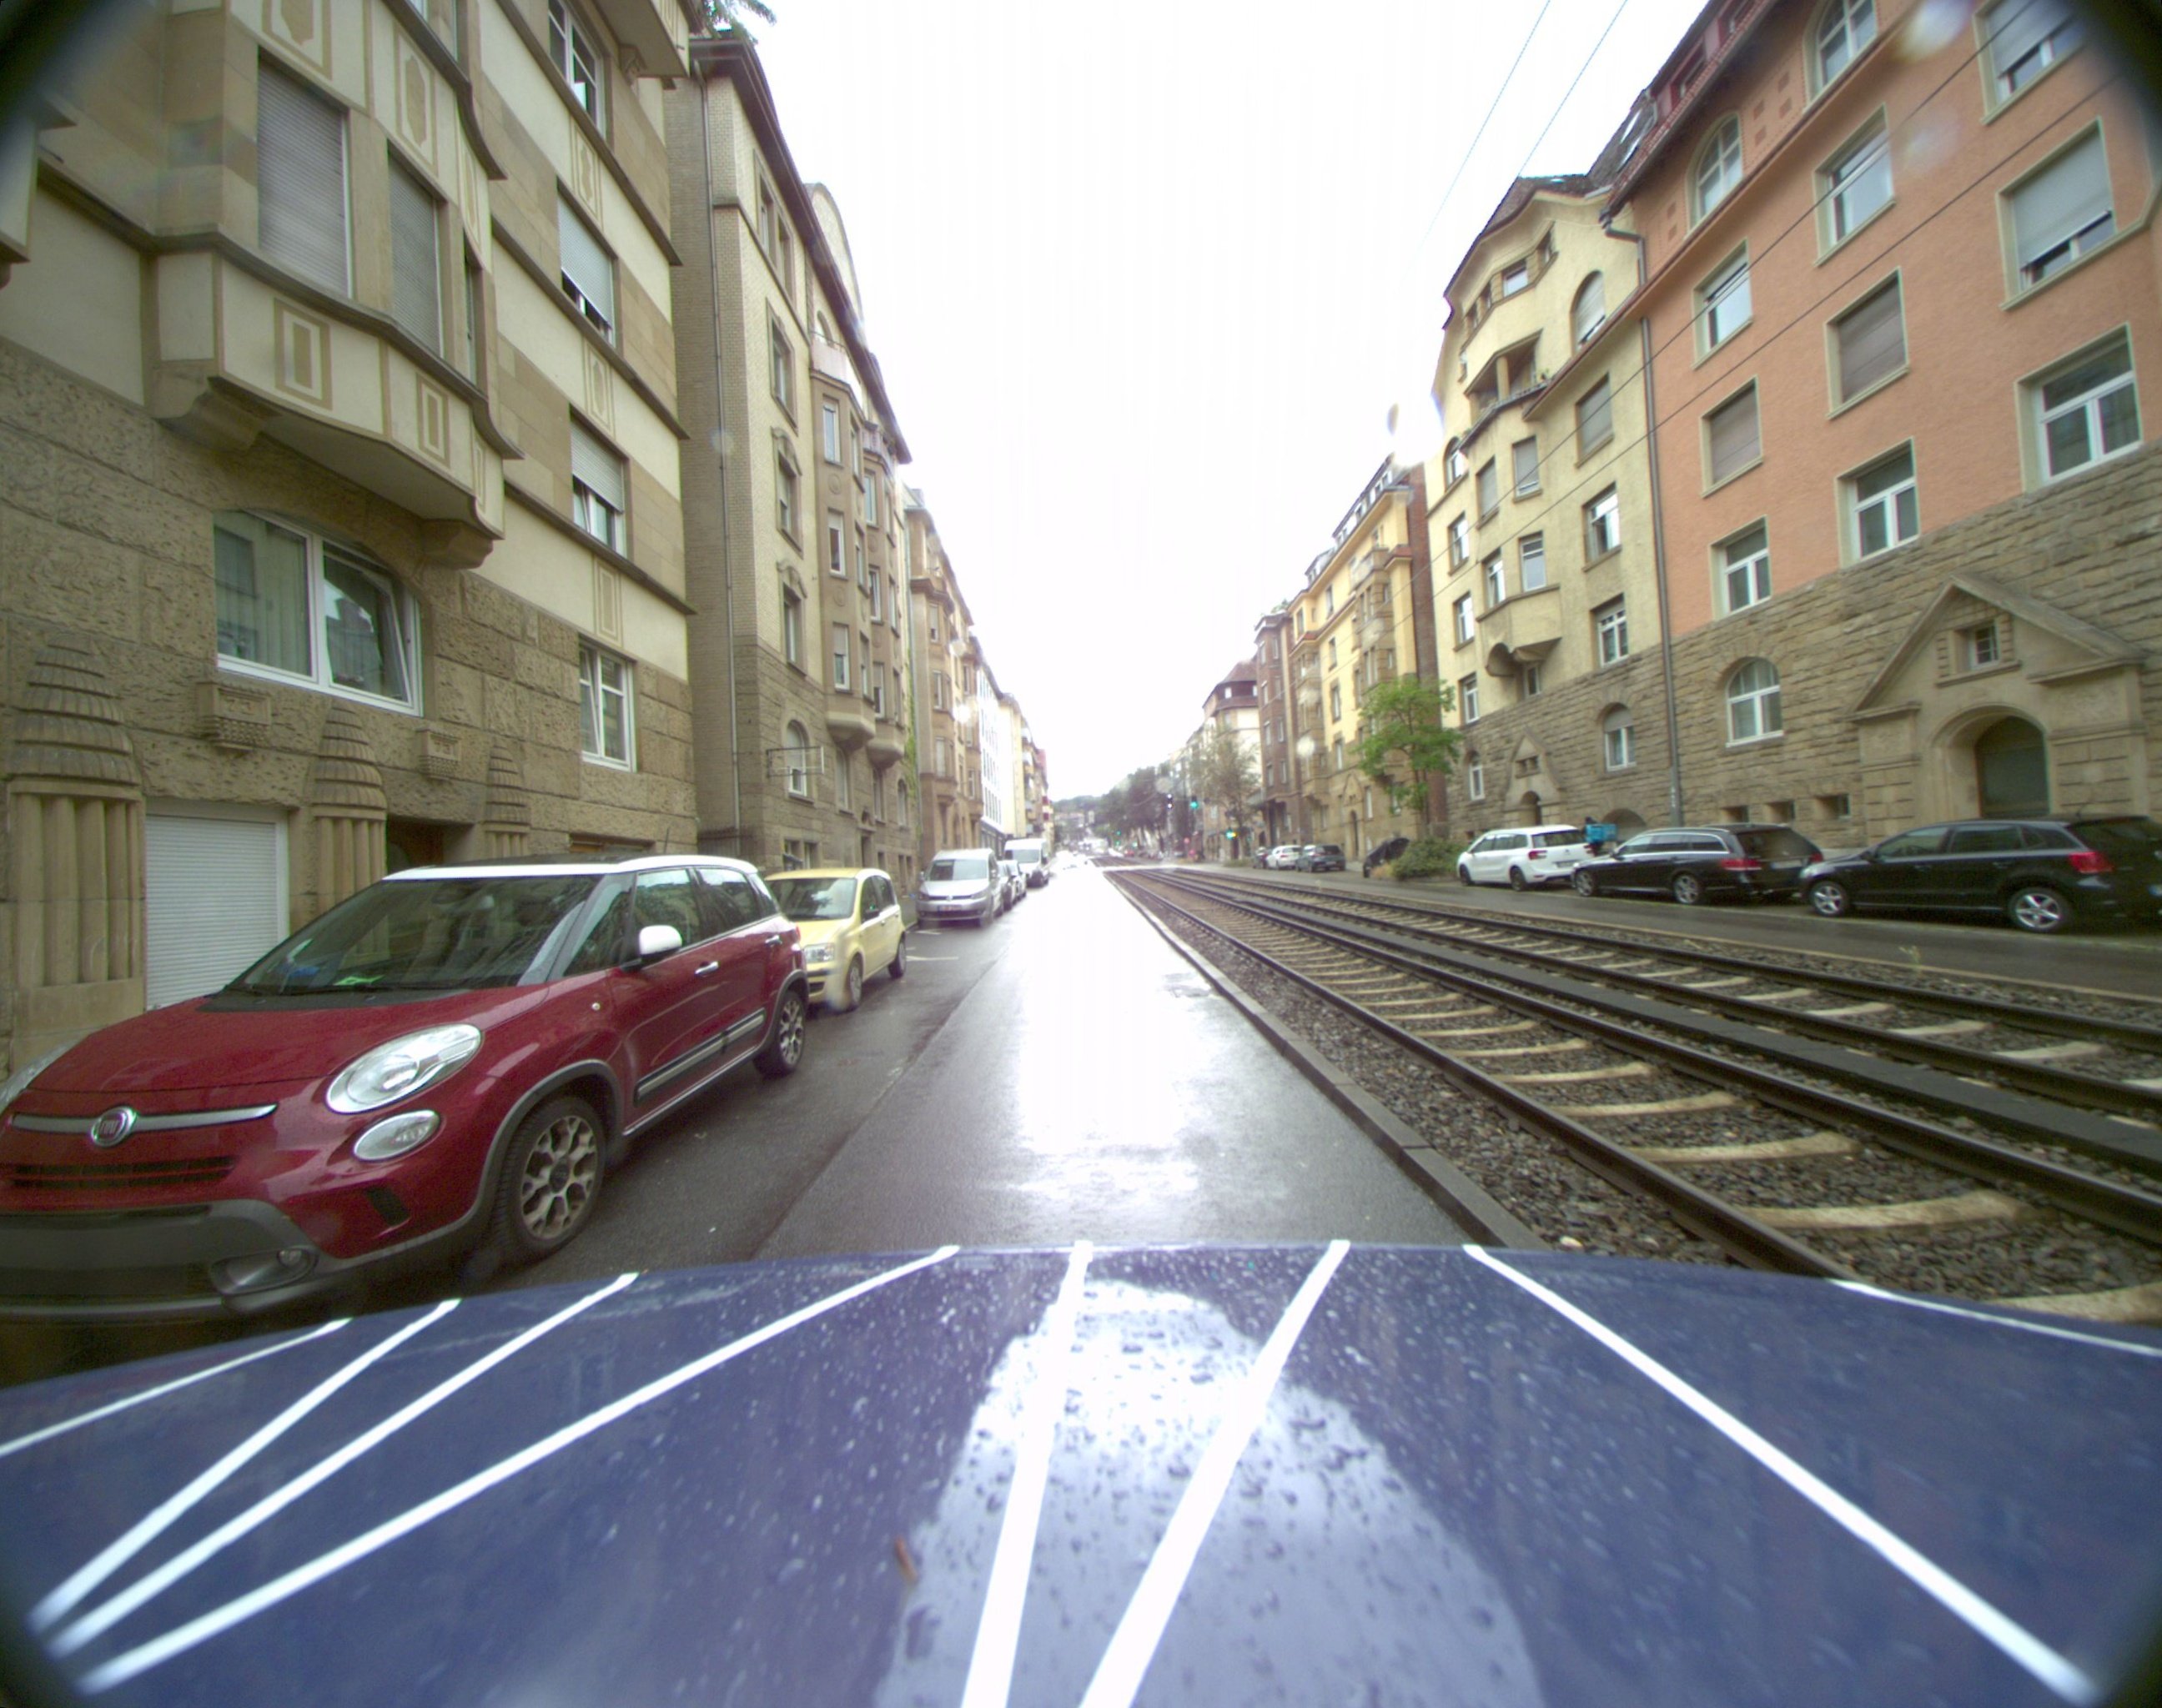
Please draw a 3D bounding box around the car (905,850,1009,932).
[{"bbox_3d":[-2.947,0.830,18.932,1.811,1.758,3.962,-2,0,1],"label":"car"}]

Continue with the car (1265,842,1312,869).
[{"bbox_3d":[12.440,0.059,45.736,1.759,1.443,4.043,-5,1,2],"label":"car"}]

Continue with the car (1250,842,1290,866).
[{"bbox_3d":[12.576,-0.013,50.717,1.759,1.419,3.712,-5,1,2],"label":"car"}]

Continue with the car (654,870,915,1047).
[{"bbox_3d":[-3.189,1.025,8.963,1.632,1.502,3.531,-3,0,-1],"label":"car"}]

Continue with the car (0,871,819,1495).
[{"bbox_3d":[-2.988,0.962,4.079,1.774,1.592,3.999,-1,0,-1],"label":"car"}]

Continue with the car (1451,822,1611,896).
[{"bbox_3d":[12.229,0.100,21.015,1.759,1.663,4.259,-5,1,0],"label":"car"}]

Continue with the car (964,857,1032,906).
[{"bbox_3d":[-2.993,0.957,28.182,1.935,1.516,4.058,-3,0,1],"label":"car"}]

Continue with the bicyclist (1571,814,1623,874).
[{"bbox_3d":[14.319,-0.278,21.100,0.894,1.592,0.774,-2,1,1],"label":"bicyclist"}]

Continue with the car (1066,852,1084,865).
[{"bbox_3d":[-0.607,0.474,77.089,1.737,1.262,4.258,0,0,1],"label":"car"}]

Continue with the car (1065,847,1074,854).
[{"bbox_3d":[-2.574,-0.756,166.620,1.794,1.459,4.257,-2,1,1],"label":"car"}]

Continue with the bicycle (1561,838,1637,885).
[{"bbox_3d":[14.341,0.175,21.118,0.694,1.215,2.052,-2,1,1],"label":"bicycle"}]

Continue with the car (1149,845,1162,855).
[{"bbox_3d":[12.447,-0.639,127.088,1.794,1.609,4.257,-2,1,0],"label":"car"}]

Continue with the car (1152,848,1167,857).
[{"bbox_3d":[11.948,-0.243,115.502,1.794,1.339,4.257,-2,1,0],"label":"car"}]

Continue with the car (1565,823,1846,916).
[{"bbox_3d":[12.205,0.242,15.352,1.760,1.482,4.597,-4,1,-1],"label":"car"}]

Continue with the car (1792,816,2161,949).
[{"bbox_3d":[12.446,0.292,10.446,1.760,1.396,3.694,-5,1,-2],"label":"car"}]

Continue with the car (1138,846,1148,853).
[{"bbox_3d":[12.810,-1.028,157.526,1.794,1.339,4.257,-2,1,0],"label":"car"}]

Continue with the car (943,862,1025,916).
[{"bbox_3d":[-2.918,1.011,23.749,1.931,1.380,3.982,-3,0,1],"label":"car"}]

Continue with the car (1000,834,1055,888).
[{"bbox_3d":[-2.707,0.306,39.913,1.991,2.520,6.155,-3,0,3],"label":"car"}]

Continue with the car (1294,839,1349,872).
[{"bbox_3d":[12.497,0.062,39.673,1.717,1.473,3.712,-5,1,2],"label":"car"}]
